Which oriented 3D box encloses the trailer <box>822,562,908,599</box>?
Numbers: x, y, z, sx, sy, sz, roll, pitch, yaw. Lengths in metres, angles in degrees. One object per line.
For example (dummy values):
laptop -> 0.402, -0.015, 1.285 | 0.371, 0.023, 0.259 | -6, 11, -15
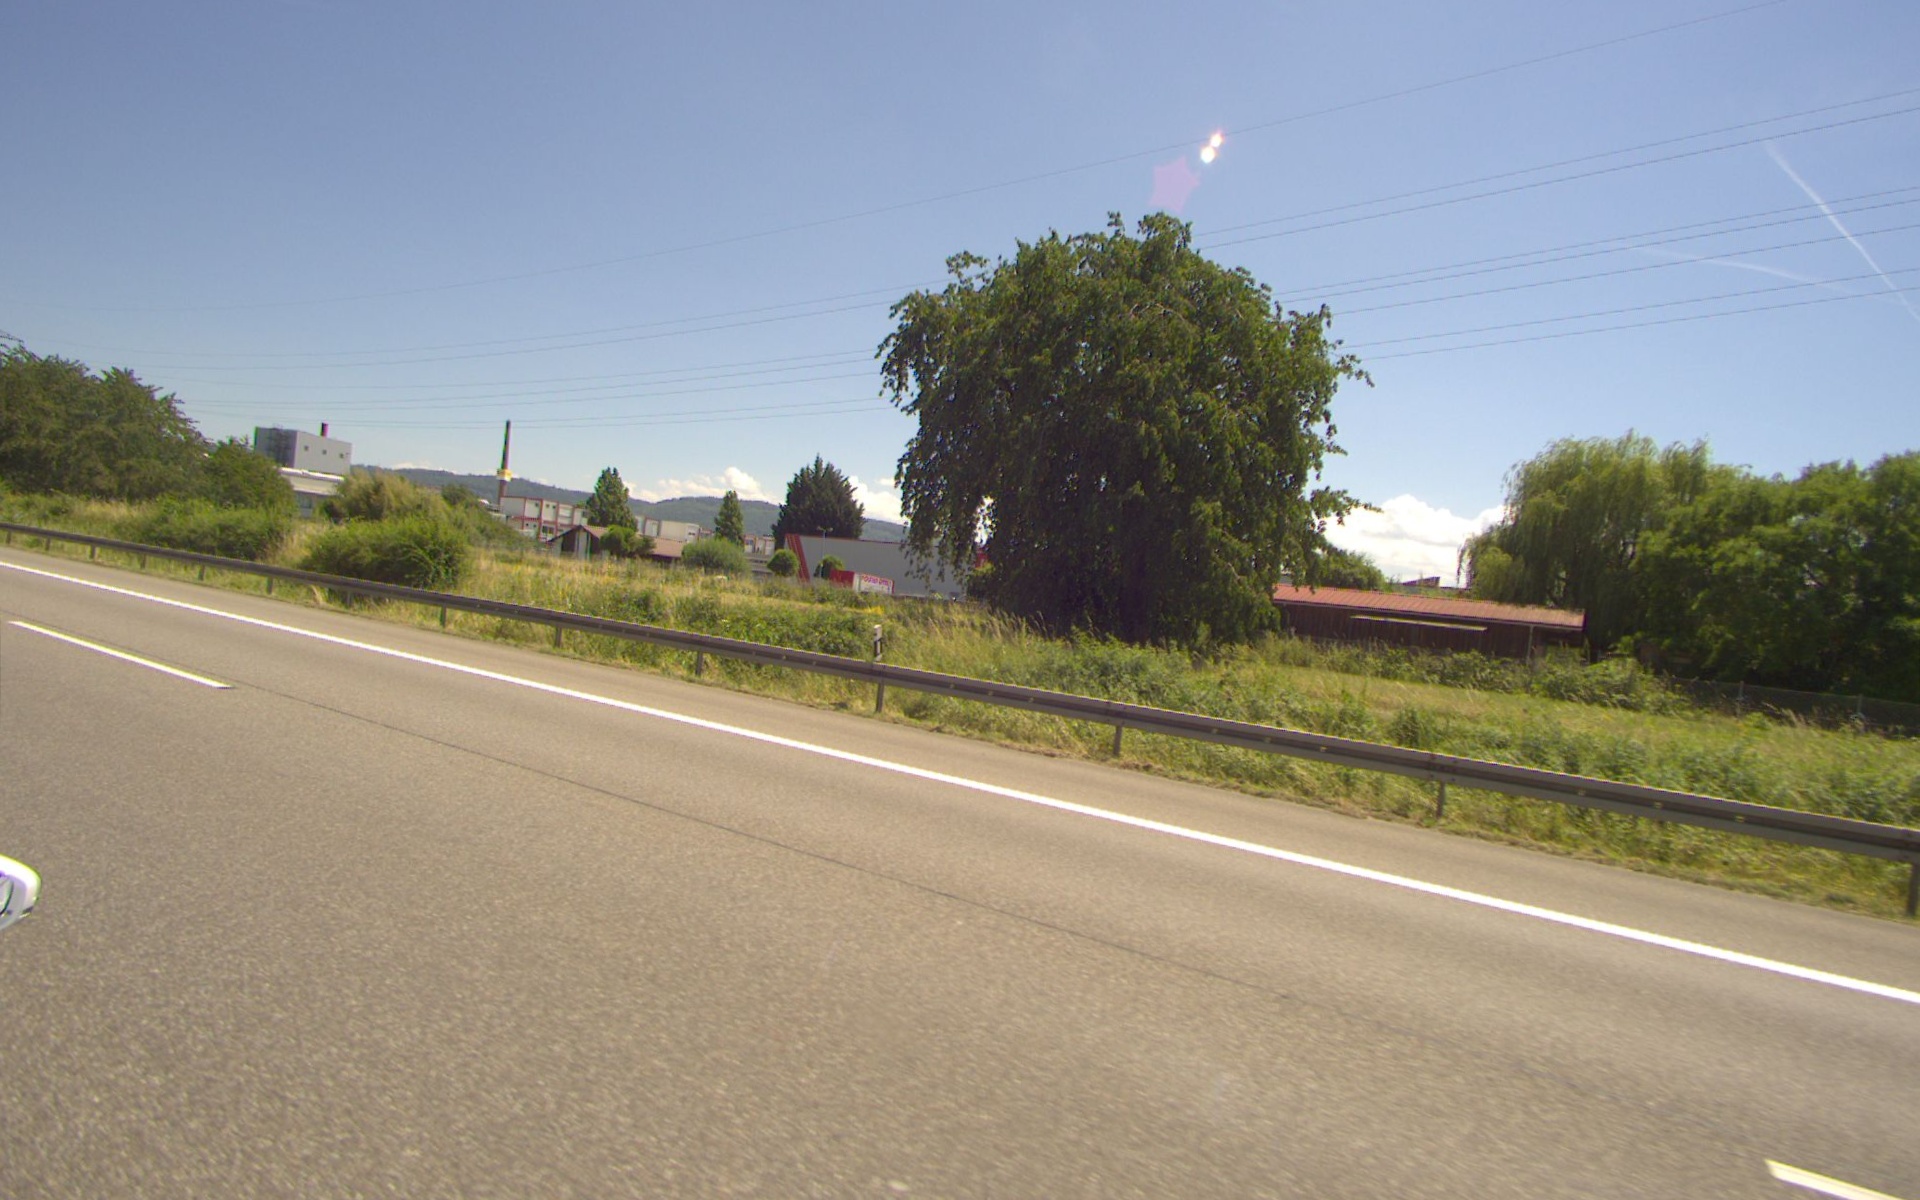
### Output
trailer -> -7.962, -1.611, 85.599 | 2.931, 2.412, 7.910 | 7, 1, 32
